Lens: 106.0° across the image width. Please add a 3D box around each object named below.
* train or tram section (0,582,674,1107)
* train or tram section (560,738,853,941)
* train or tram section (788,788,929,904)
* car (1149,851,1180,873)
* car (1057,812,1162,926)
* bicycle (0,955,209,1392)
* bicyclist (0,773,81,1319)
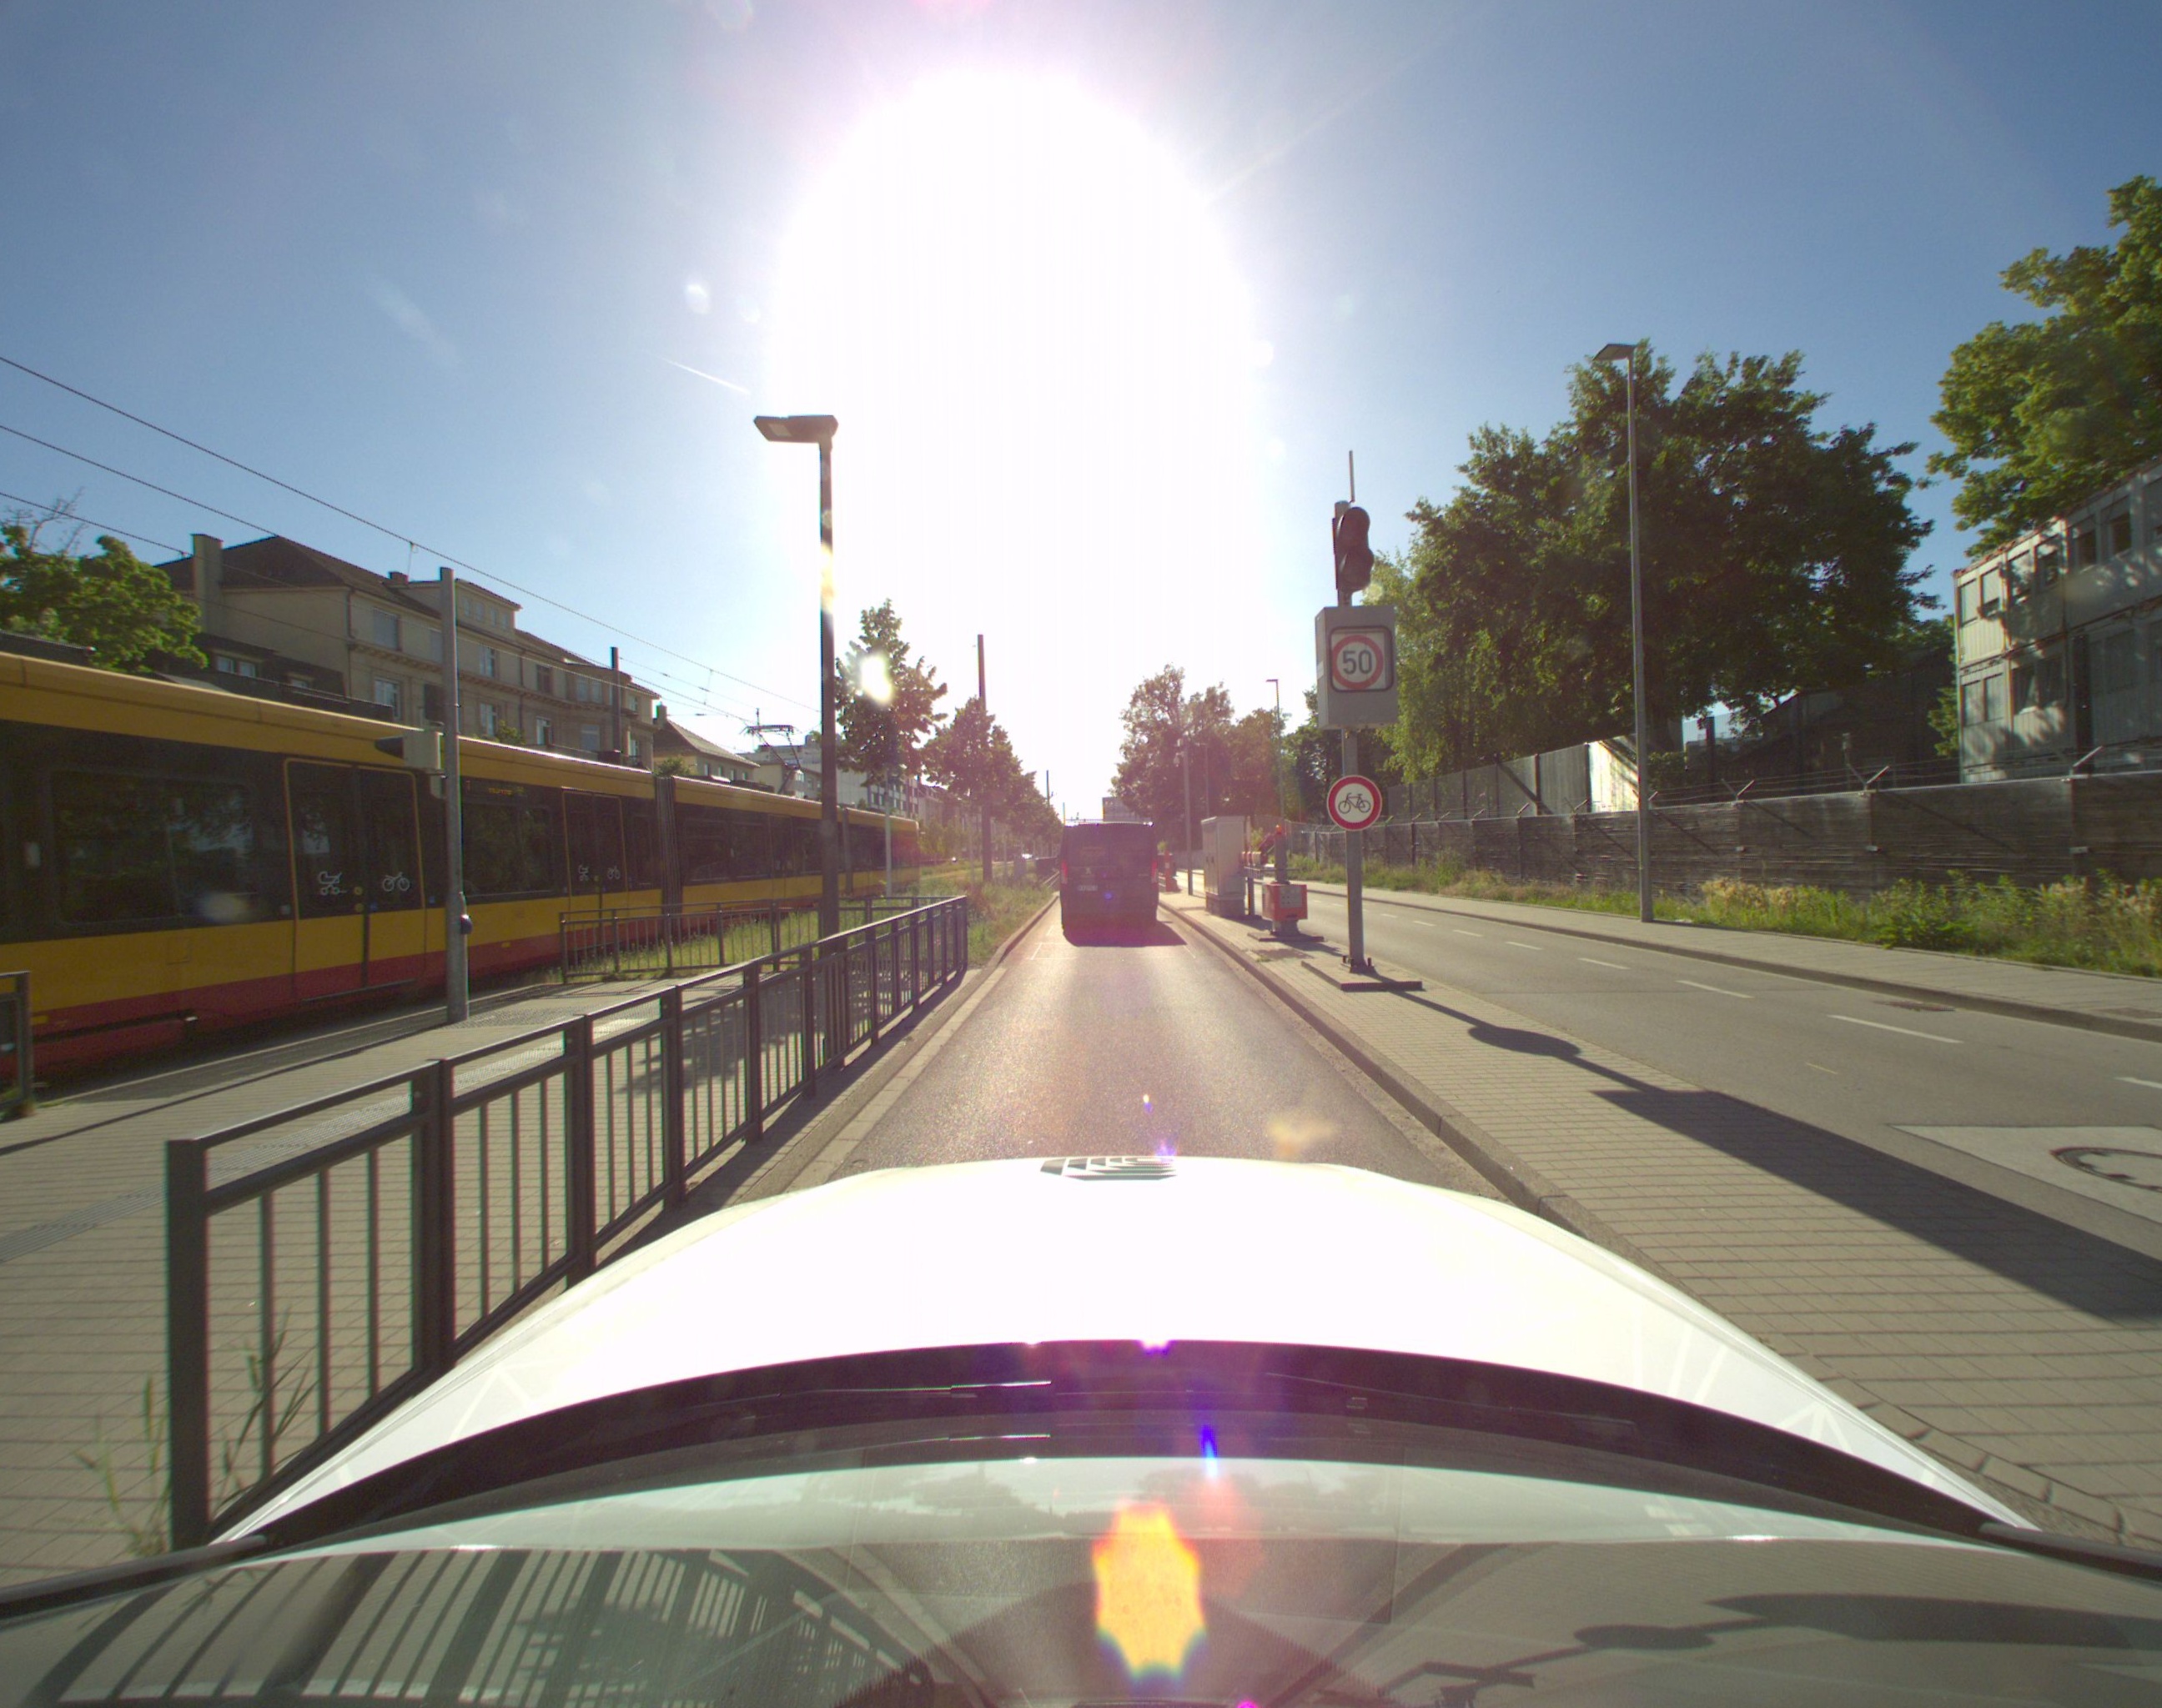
[{"bbox_3d":[-8.526,-0.058,7.876,1.987,3.669,14.151,-1,0,0],"label":"train or tram section"},{"bbox_3d":[-8.421,-0.275,20.523,1.987,3.669,11.317,-1,0,1],"label":"train or tram section"},{"bbox_3d":[-8.239,-0.257,31.991,1.986,3.669,11.686,-1,0,1],"label":"train or tram section"},{"bbox_3d":[5.900,0.542,57.846,1.758,1.462,3.998,-1,0,-1],"label":"car"},{"bbox_3d":[0.594,0.298,18.300,2.075,2.249,4.000,-1,0,0],"label":"car"},{"bbox_3d":[-3.319,0.940,2.098,0.736,1.091,2.065,-1,0,-25],"label":"bicycle"},{"bbox_3d":[-3.353,0.535,2.032,0.830,1.512,0.724,-1,0,-25],"label":"bicyclist"}]
